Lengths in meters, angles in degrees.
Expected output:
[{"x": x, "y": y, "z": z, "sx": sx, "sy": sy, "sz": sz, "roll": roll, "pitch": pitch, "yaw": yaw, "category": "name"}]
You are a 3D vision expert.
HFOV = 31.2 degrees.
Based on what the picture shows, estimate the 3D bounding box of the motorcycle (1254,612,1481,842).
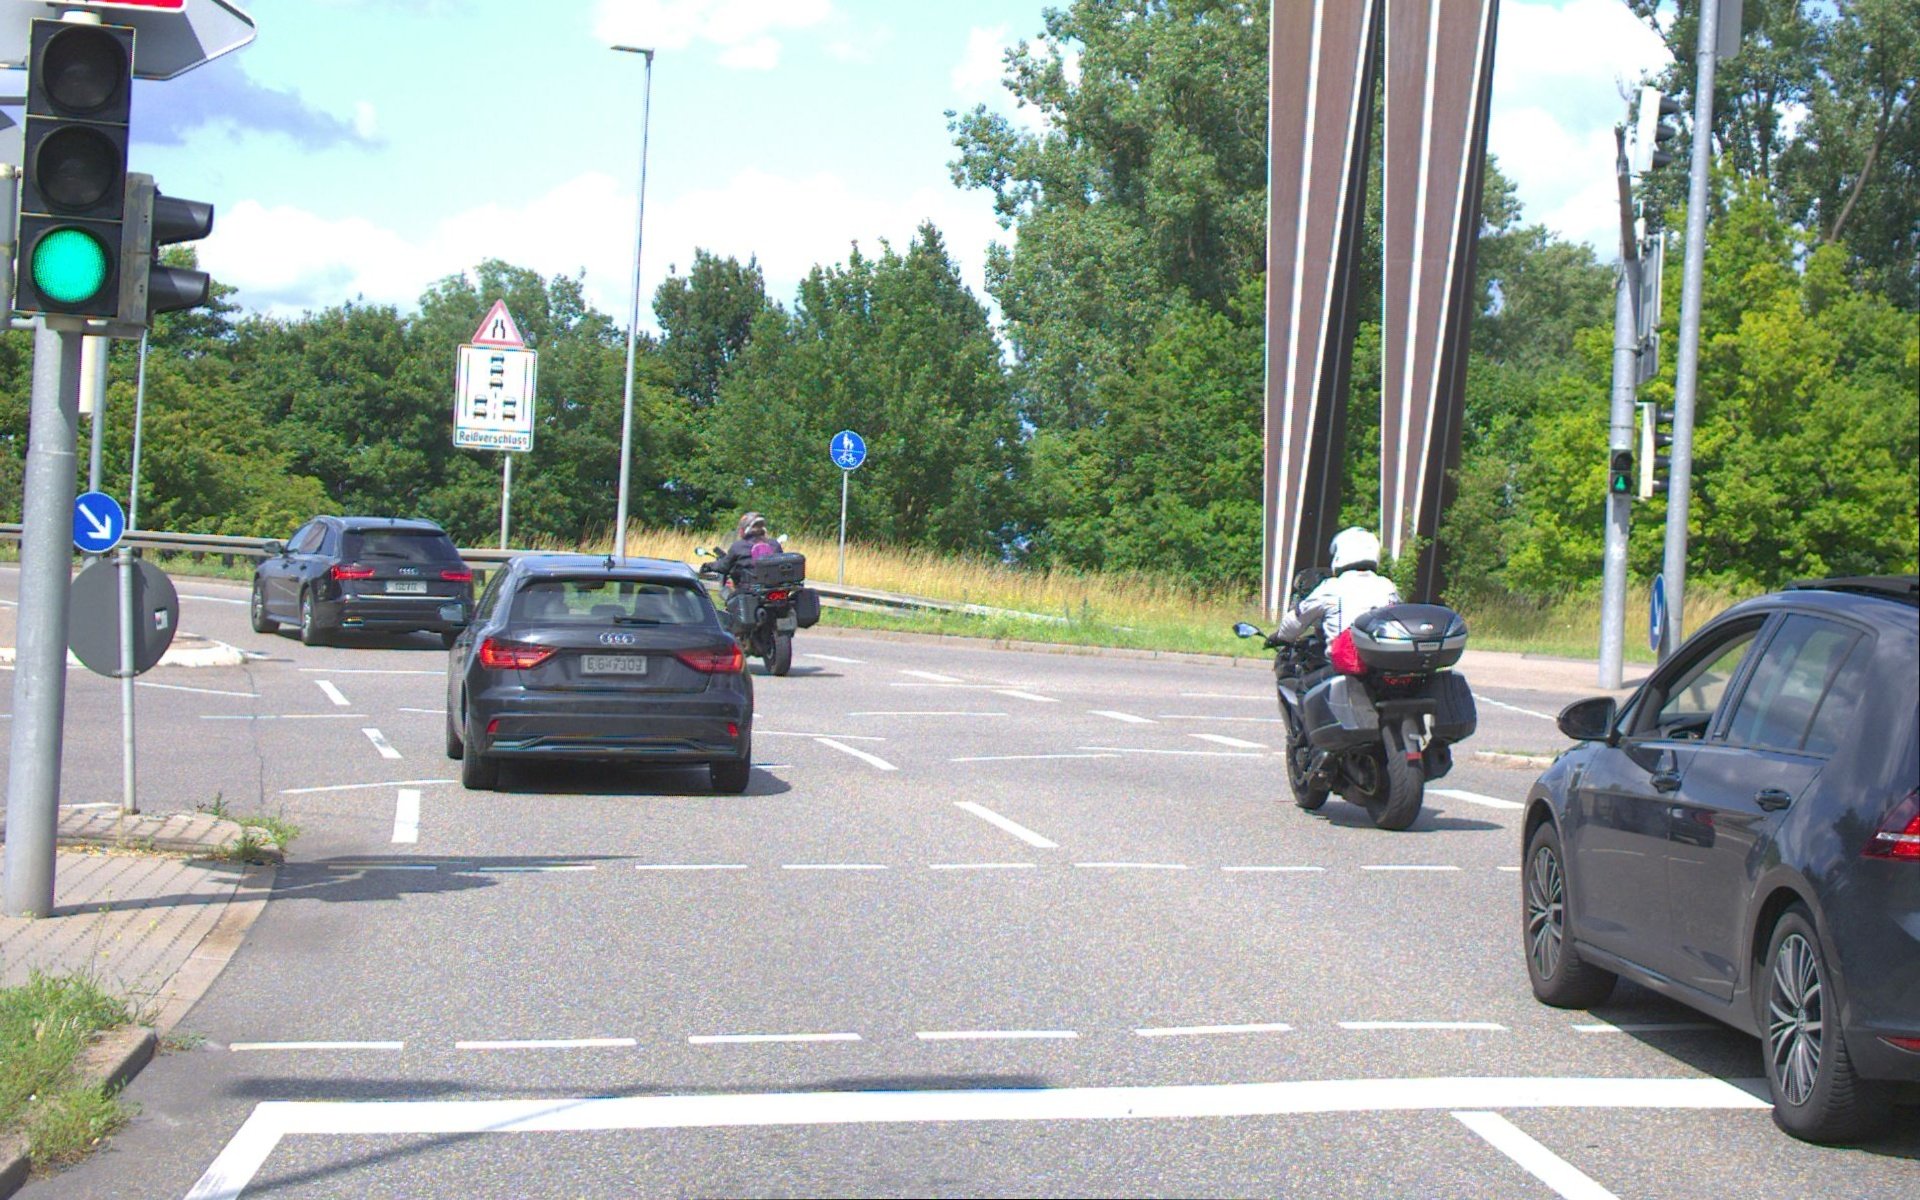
[{"x": 2.253, "y": 0.676, "z": 19.344, "sx": 0.789, "sy": 1.128, "sz": 2.400, "roll": 2, "pitch": 1, "yaw": -4, "category": "motorcycle"}]

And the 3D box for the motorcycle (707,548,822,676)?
[{"x": -2.057, "y": 0.106, "z": 35.810, "sx": 0.887, "sy": 1.243, "sz": 2.400, "roll": 2, "pitch": 1, "yaw": -10, "category": "motorcycle"}]

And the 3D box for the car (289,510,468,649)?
[{"x": -6.726, "y": -0.260, "z": 39.501, "sx": 1.642, "sy": 1.474, "sz": 3.873, "roll": 2, "pitch": 1, "yaw": -15, "category": "car"}]

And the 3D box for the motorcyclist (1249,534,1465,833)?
[{"x": 2.235, "y": 0.453, "z": 19.516, "sx": 0.966, "sy": 1.615, "sz": 1.125, "roll": 2, "pitch": 0, "yaw": -4, "category": "motorcyclist"}]

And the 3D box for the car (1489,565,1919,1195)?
[{"x": 2.830, "y": 0.667, "z": 10.118, "sx": 1.642, "sy": 1.474, "sz": 3.873, "roll": 2, "pitch": 1, "yaw": -4, "category": "car"}]

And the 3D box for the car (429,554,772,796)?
[{"x": -2.350, "y": 0.416, "z": 21.708, "sx": 1.681, "sy": 1.383, "sz": 3.740, "roll": 1, "pitch": 1, "yaw": -13, "category": "car"}]

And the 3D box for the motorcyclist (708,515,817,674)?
[{"x": -2.067, "y": -0.065, "z": 35.873, "sx": 0.965, "sy": 1.590, "sz": 1.125, "roll": 2, "pitch": 0, "yaw": -9, "category": "motorcyclist"}]
